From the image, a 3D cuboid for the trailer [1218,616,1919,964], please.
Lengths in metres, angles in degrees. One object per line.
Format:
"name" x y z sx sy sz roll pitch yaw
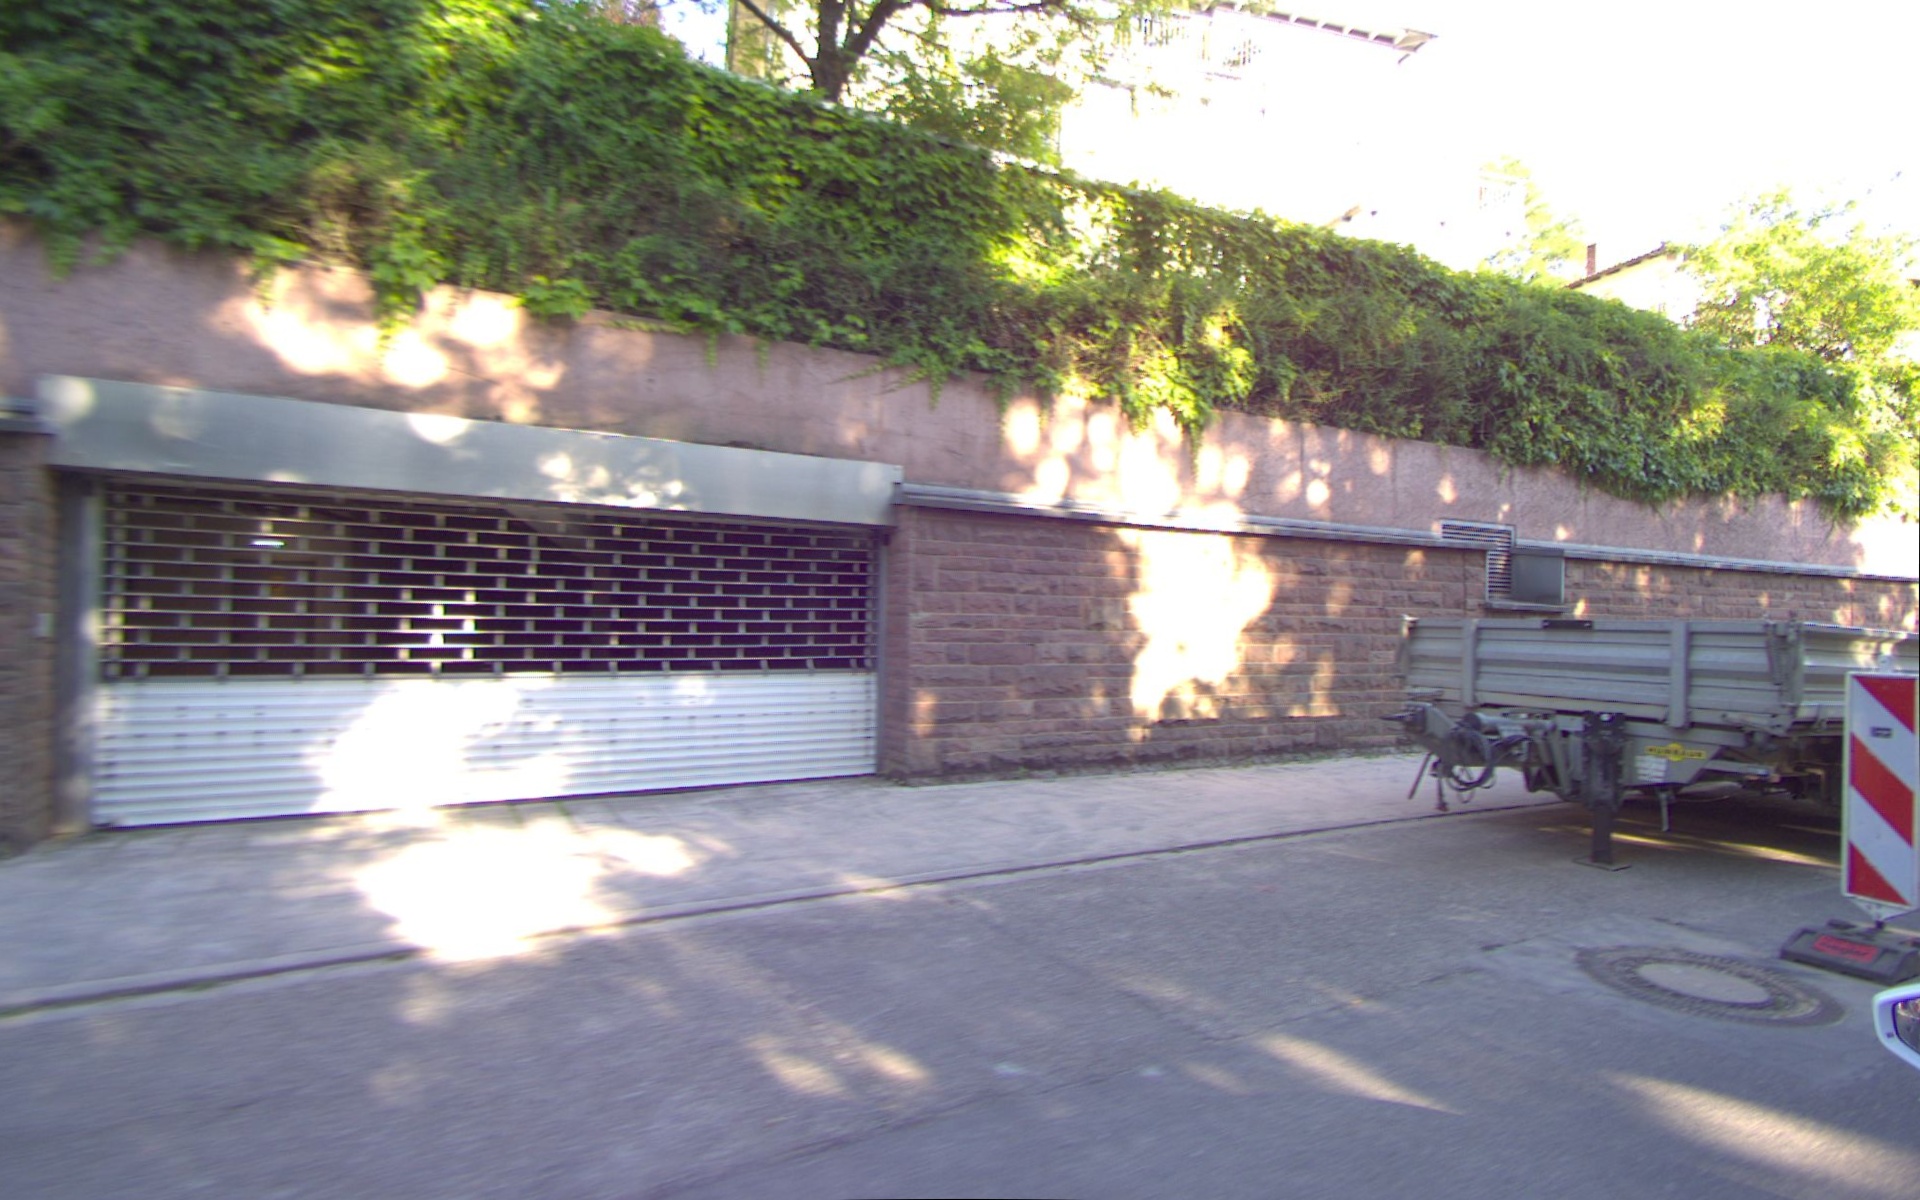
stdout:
"trailer" 5.448 0.960 7.358 7.031 1.509 2.628 2 -1 -29
